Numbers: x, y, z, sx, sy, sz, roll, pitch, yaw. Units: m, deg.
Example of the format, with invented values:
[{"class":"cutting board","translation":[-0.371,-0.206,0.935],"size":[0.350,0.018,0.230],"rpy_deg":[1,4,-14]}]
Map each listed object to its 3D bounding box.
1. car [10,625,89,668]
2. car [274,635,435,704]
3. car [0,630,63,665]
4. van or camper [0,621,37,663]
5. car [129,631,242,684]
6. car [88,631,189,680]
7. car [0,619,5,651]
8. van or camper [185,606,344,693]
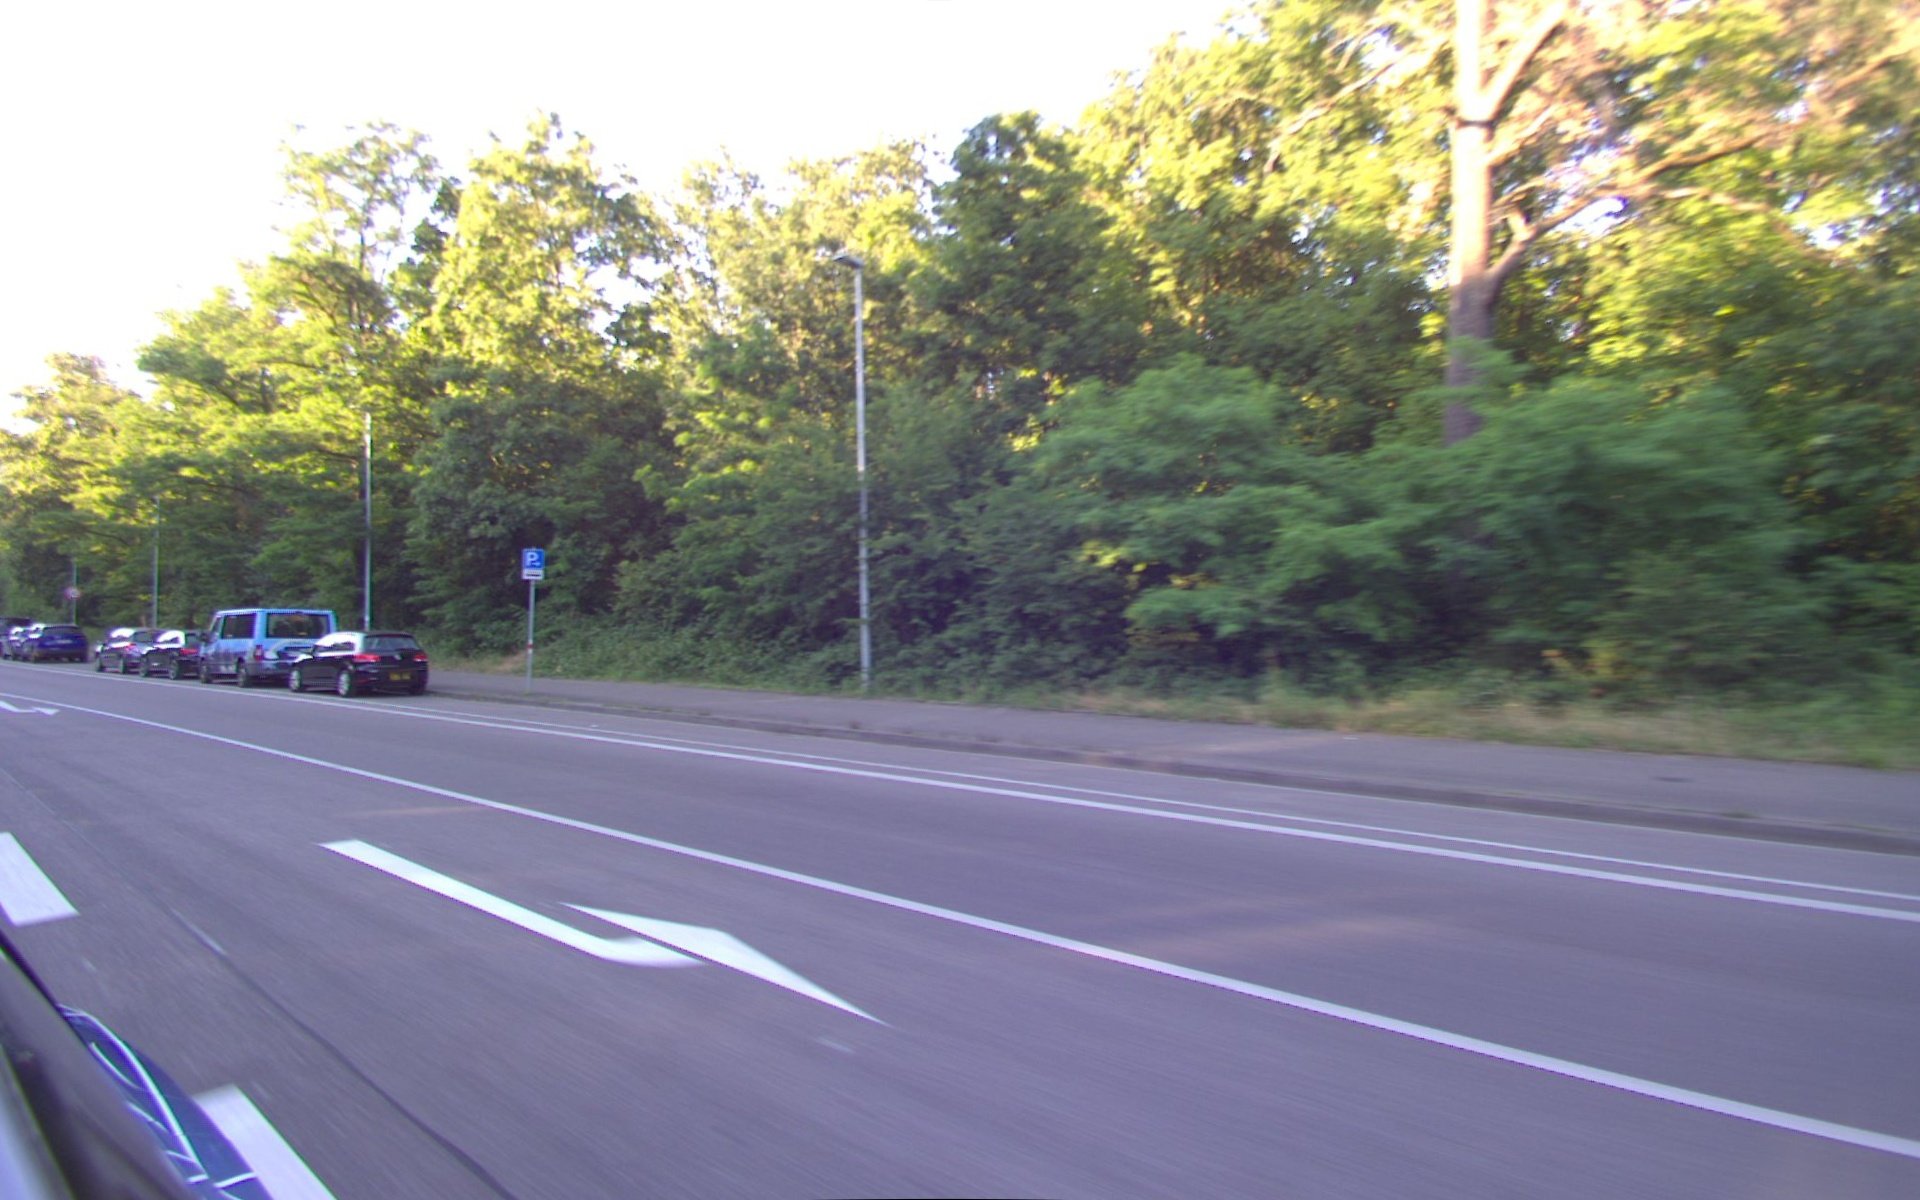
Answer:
[{"class":"car","translation":[-38.135,1.947,42.356],"size":[4.518,1.725,1.727],"rpy_deg":[-2,-4,39]},{"class":"car","translation":[-14.207,1.578,23.663],"size":[4.235,1.473,1.672],"rpy_deg":[-1,-3,36]},{"class":"car","translation":[-42.046,2.149,45.689],"size":[4.242,1.513,1.652],"rpy_deg":[-2,-4,39]},{"class":"van or camper","translation":[-49.612,2.168,52.300],"size":[5.455,2.033,1.982],"rpy_deg":[-2,-4,39]},{"class":"car","translation":[-23.211,1.684,30.293],"size":[3.963,1.505,1.529],"rpy_deg":[-1,-3,35]},{"class":"car","translation":[-27.258,1.810,33.558],"size":[4.032,1.546,1.602],"rpy_deg":[-1,-3,36]},{"class":"car","translation":[-59.263,2.046,61.098],"size":[4.381,1.872,1.671],"rpy_deg":[0,-2,38]},{"class":"van or camper","translation":[-18.680,1.304,27.097],"size":[5.006,2.110,2.012],"rpy_deg":[-1,-3,38]}]
